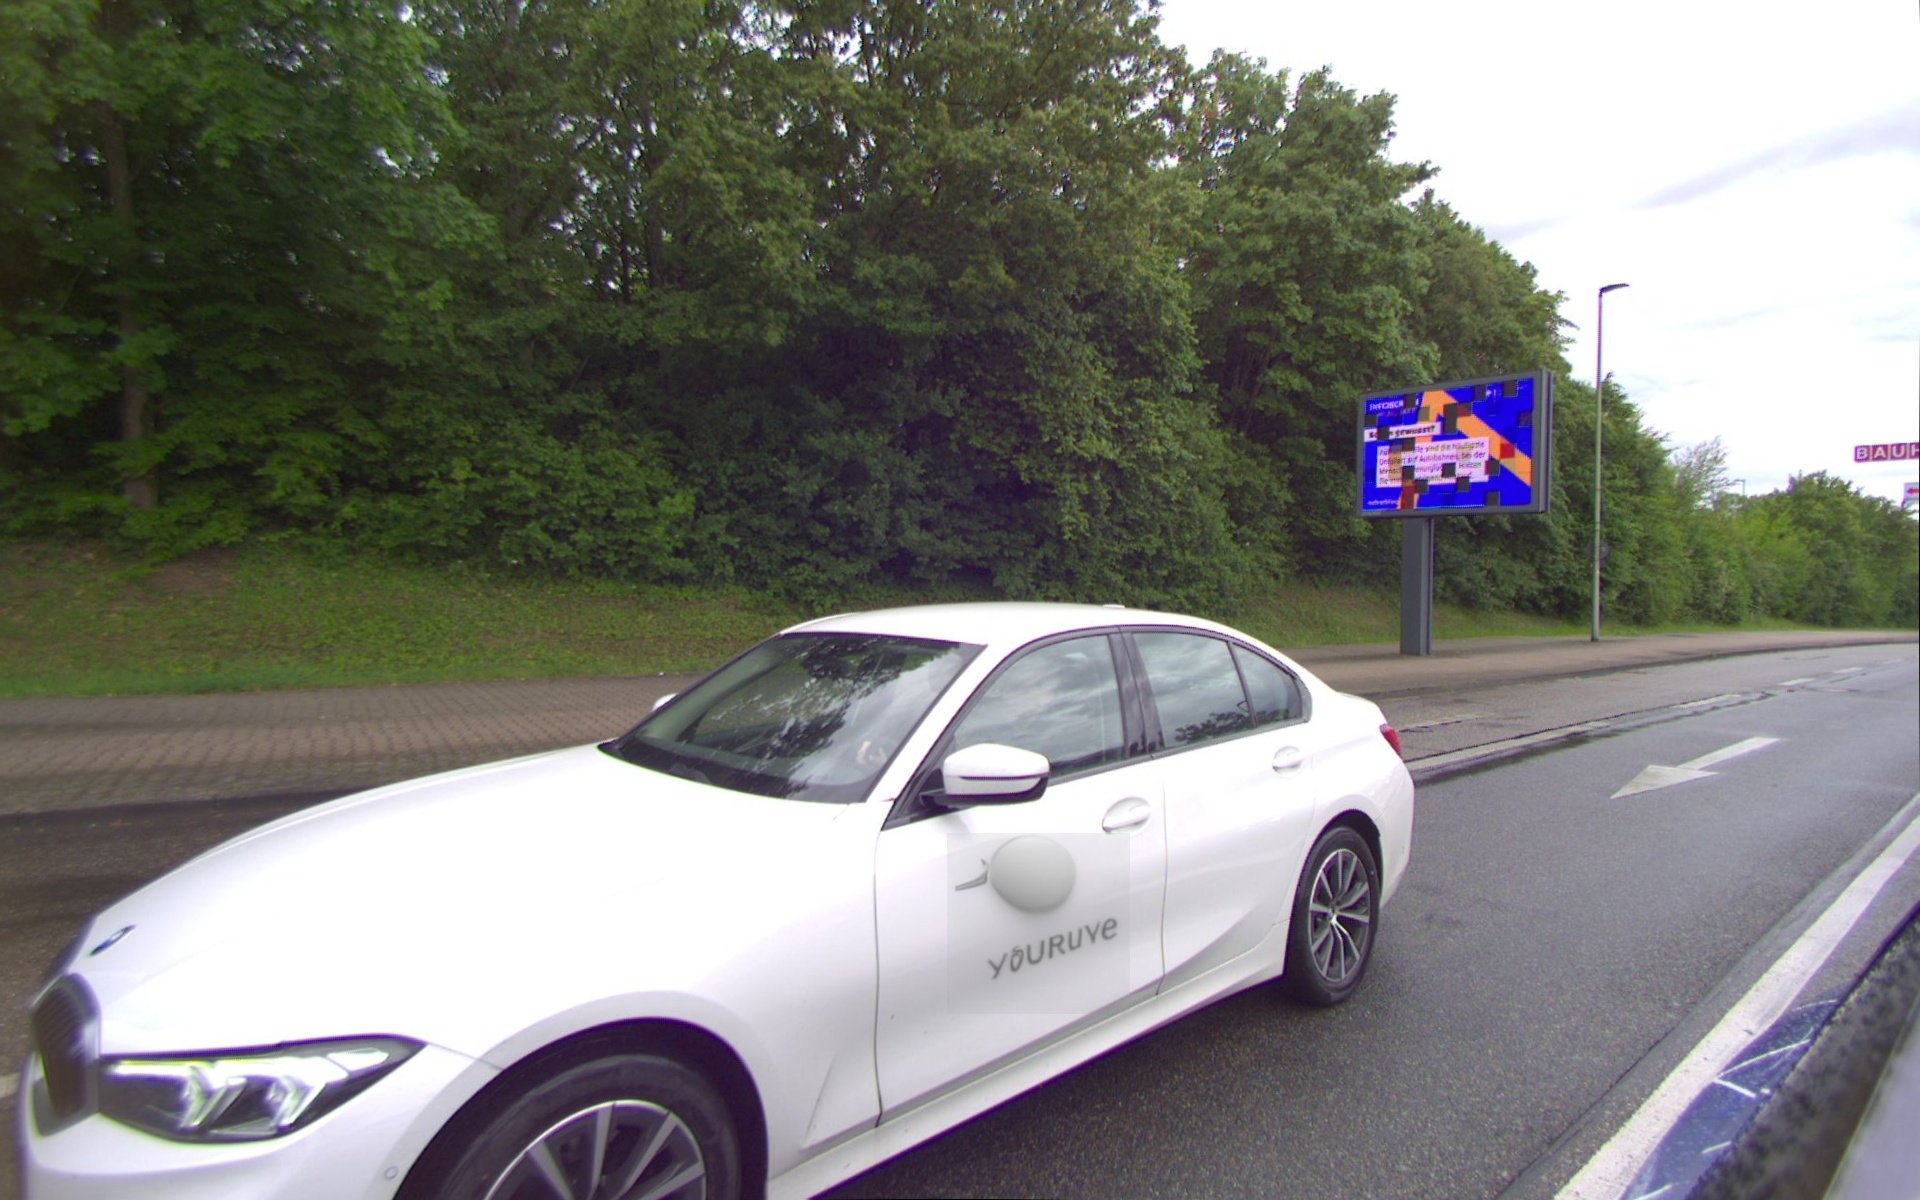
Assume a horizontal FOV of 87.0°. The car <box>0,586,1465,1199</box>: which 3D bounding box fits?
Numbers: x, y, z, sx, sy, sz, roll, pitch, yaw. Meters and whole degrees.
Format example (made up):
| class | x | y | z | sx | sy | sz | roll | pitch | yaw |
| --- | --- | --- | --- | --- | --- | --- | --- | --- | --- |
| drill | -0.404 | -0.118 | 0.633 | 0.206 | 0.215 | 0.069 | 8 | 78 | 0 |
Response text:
| class | x | y | z | sx | sy | sz | roll | pitch | yaw |
| --- | --- | --- | --- | --- | --- | --- | --- | --- | --- |
| car | -0.106 | 0.706 | 3.483 | 4.600 | 1.475 | 1.782 | -1 | 1 | -42 |
